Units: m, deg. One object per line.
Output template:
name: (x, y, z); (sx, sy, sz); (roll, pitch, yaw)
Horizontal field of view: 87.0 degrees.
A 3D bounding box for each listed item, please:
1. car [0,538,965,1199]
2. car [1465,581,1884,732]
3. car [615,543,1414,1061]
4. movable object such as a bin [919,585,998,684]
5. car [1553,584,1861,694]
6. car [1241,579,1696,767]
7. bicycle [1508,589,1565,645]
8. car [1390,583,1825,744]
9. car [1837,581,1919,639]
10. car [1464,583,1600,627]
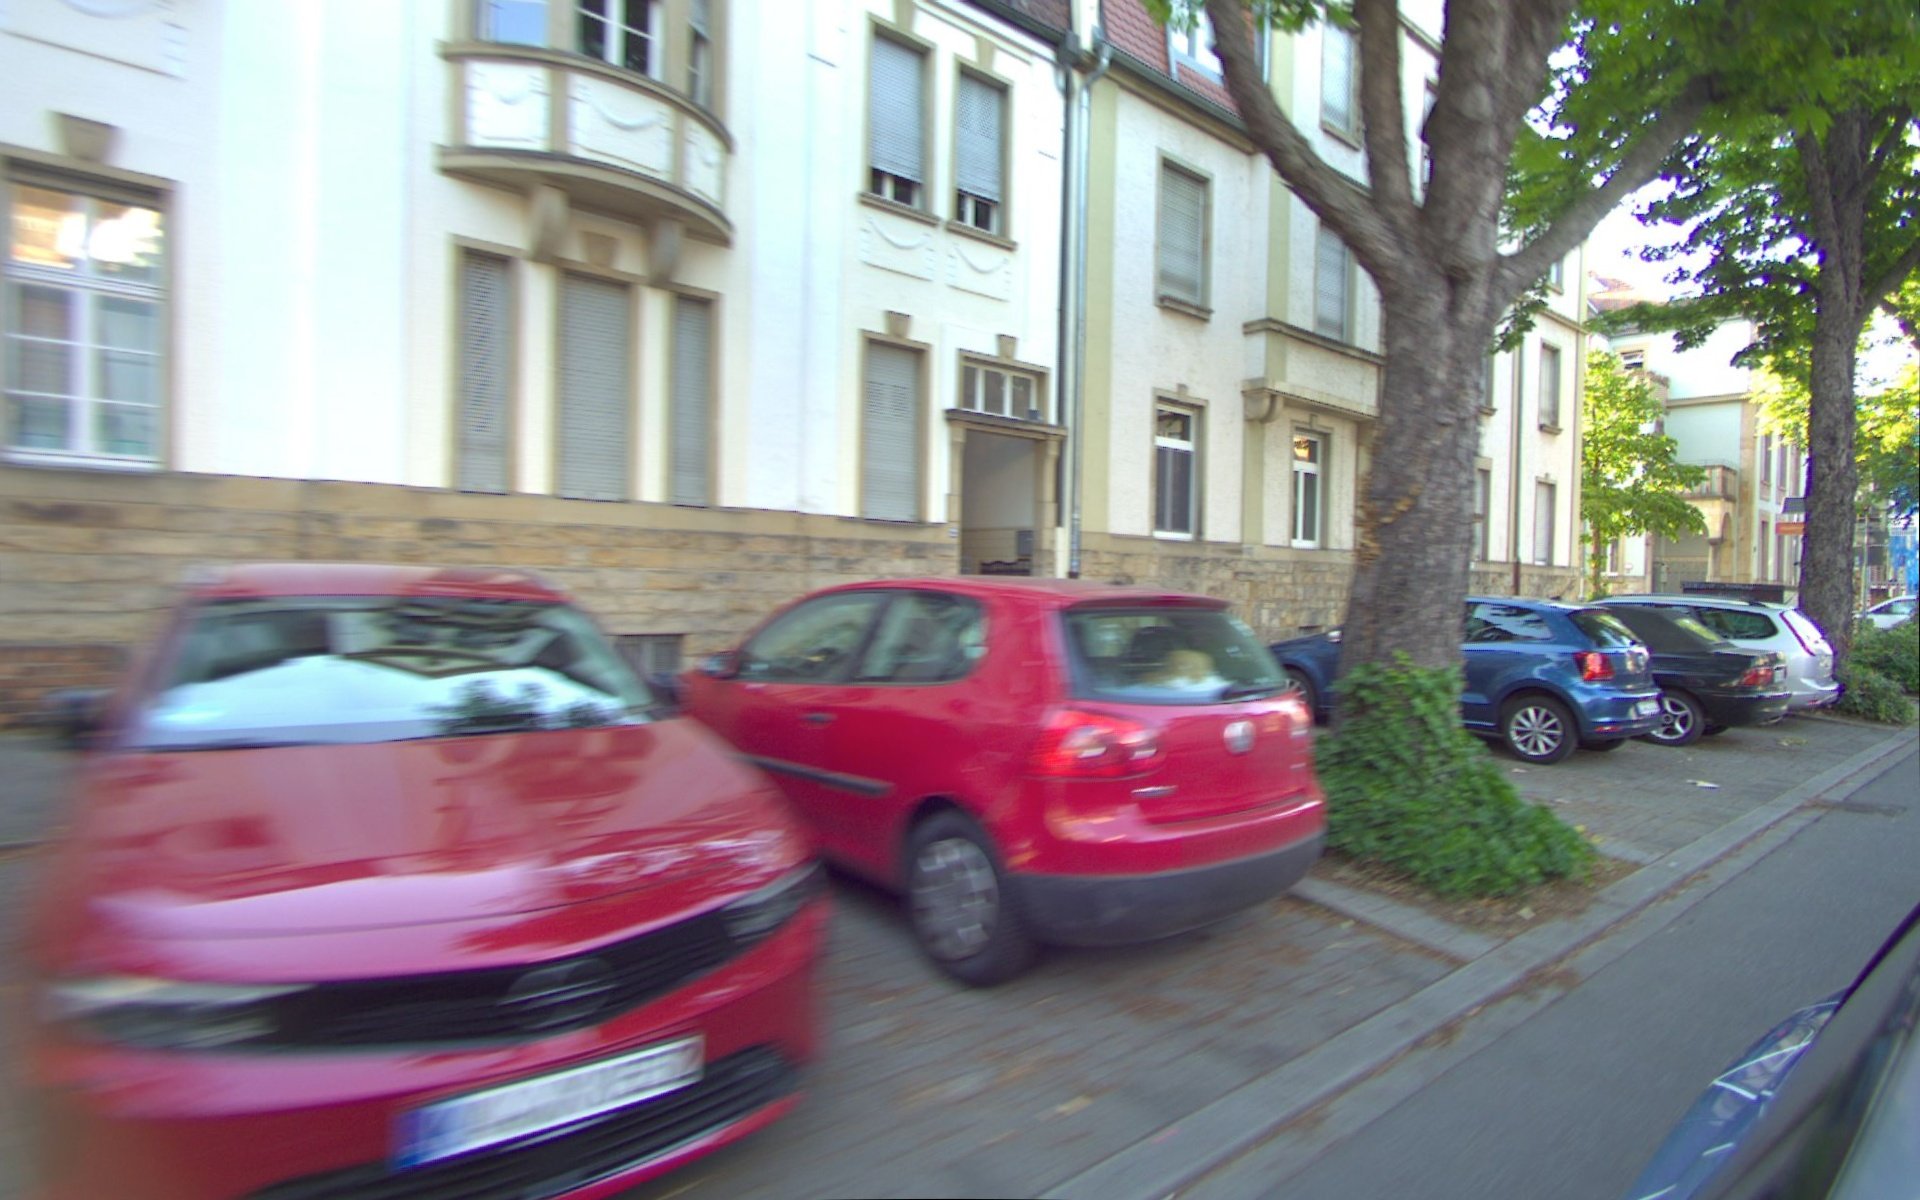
car: (-2.071, 0.546, 3.765); (1.842, 1.436, 4.425); (0, 3, -37)
car: (9.072, 0.582, 13.156); (1.682, 1.596, 4.155); (0, 1, -40)
car: (-0.166, 0.512, 5.242); (1.817, 1.493, 4.203); (0, 3, -37)
movable object such as a bin: (-0.019, 0.385, 11.742); (0.532, 1.062, 0.702); (1, 4, -41)
car: (12.092, 0.532, 16.535); (1.720, 1.455, 3.797); (0, 2, -44)
car: (4.893, 0.561, 10.188); (1.532, 1.502, 3.802); (0, 1, -39)
bicycle: (13.286, 0.383, 23.309); (1.924, 1.227, 0.585); (1, 0, -43)
car: (7.156, 0.566, 11.482); (1.785, 1.456, 3.801); (0, 1, -40)
car: (32.662, 0.389, 34.169); (1.965, 1.829, 4.324); (1, 3, -40)
car: (21.633, 0.157, 38.412); (1.626, 1.494, 4.165); (3, 0, -40)
